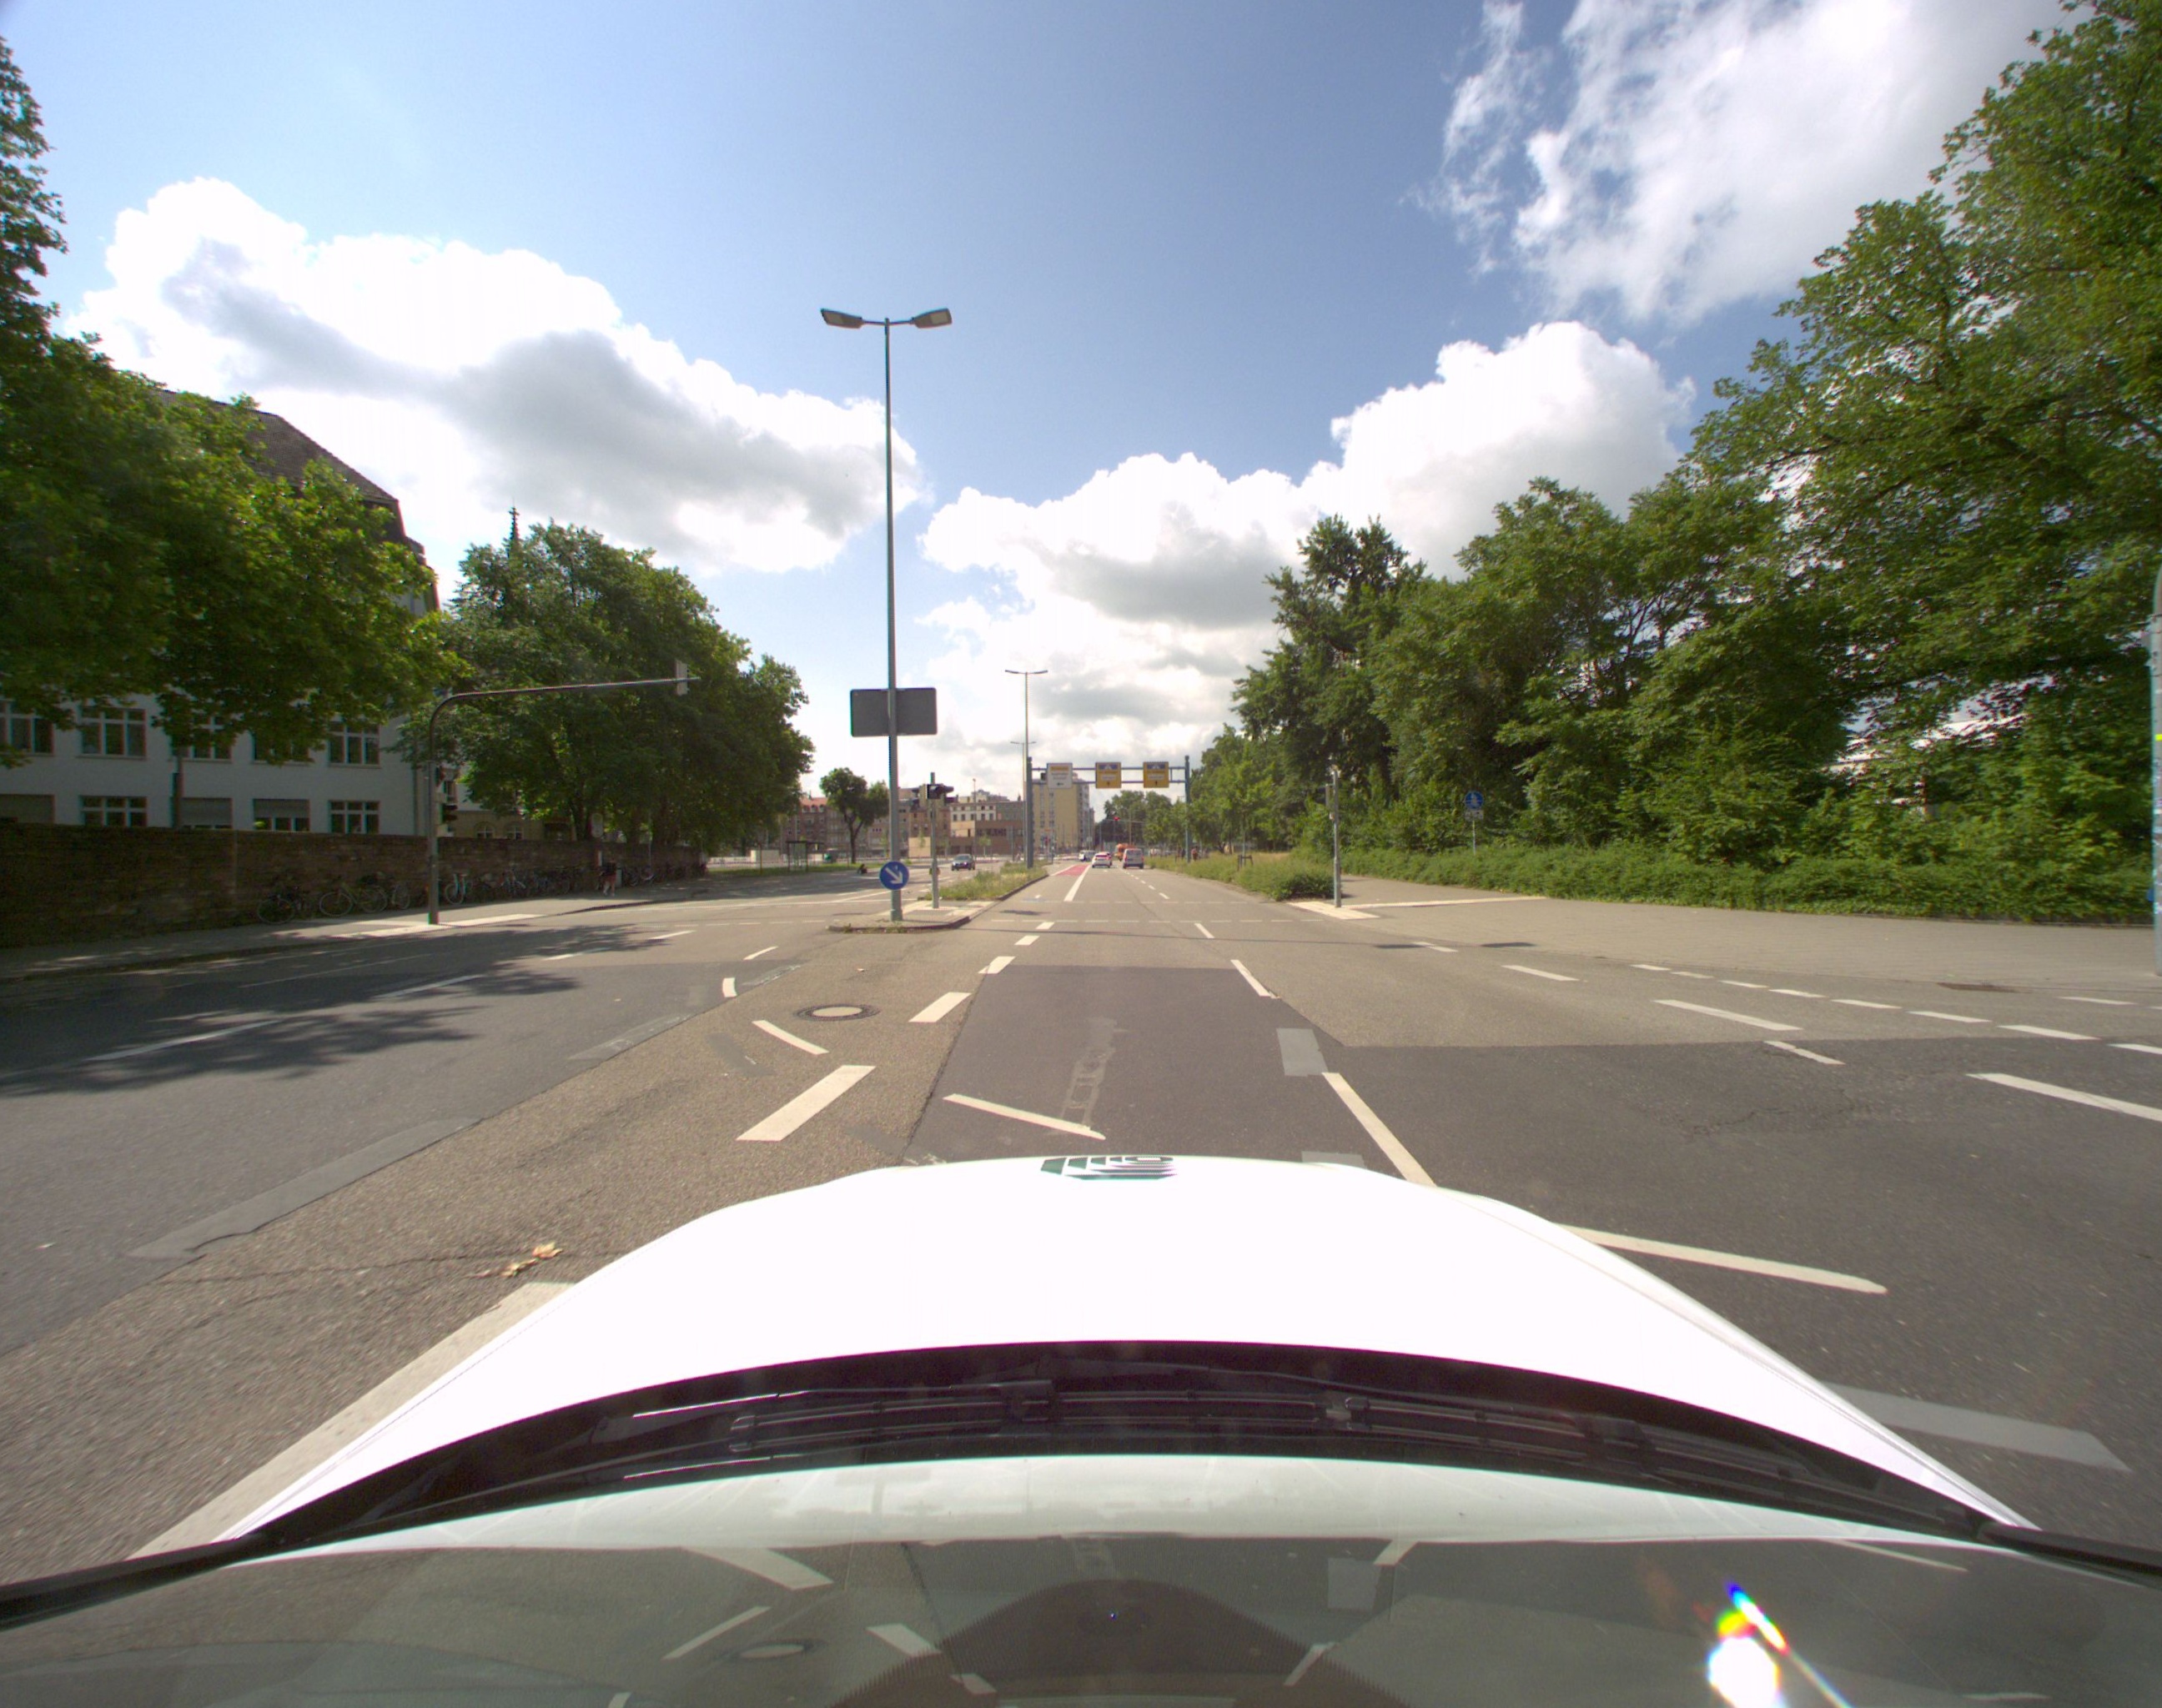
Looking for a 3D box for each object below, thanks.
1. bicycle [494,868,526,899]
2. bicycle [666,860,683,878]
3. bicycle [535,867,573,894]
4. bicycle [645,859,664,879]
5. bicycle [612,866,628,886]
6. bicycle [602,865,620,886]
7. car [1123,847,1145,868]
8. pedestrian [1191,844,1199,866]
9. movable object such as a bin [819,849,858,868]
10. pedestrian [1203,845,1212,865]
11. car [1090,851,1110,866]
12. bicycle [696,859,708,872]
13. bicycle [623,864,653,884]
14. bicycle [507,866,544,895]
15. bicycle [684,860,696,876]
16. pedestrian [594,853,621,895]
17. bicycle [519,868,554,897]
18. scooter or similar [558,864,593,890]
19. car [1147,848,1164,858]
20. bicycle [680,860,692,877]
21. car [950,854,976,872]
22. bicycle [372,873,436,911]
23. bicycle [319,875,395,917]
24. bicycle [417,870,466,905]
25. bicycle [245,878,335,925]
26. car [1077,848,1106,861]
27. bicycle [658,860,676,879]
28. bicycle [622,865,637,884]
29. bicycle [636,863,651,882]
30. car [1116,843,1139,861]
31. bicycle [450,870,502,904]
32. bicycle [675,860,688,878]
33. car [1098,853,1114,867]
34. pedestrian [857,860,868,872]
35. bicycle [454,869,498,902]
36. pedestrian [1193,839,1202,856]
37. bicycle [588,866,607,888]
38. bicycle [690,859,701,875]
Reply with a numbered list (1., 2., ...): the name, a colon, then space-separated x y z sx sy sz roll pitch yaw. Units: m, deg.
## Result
1. bicycle: -20.837 1.060 29.729 0.594 1.048 1.866 -1 0 -24
2. bicycle: -25.159 0.908 50.408 0.583 1.073 1.746 -1 0 -16
3. bicycle: -21.699 1.080 33.553 0.580 1.048 1.875 -1 0 -9
4. bicycle: -24.152 0.822 46.131 0.583 1.073 1.747 -1 0 -15
5. bicycle: -22.968 1.088 40.601 0.367 0.955 1.395 -1 0 -15
6. bicycle: -22.603 1.029 39.194 0.367 0.955 1.395 -1 0 -15
7. car: 4.967 0.279 77.514 1.935 1.870 4.828 -1 0 2
8. pedestrian: 9.283 0.054 66.575 0.565 1.801 0.639 -1 0 1
9. movable object such as a bin: -38.637 0.711 129.872 2.259 2.885 5.575 -1 0 44
10. pedestrian: 10.332 0.078 66.775 0.621 1.581 0.708 -1 0 1
11. car: 1.917 0.403 81.479 1.896 1.424 4.387 -1 0 2
12. bicycle: -30.549 0.921 65.638 0.583 1.073 1.860 -1 0 -16
13. bicycle: -22.415 1.024 41.240 0.364 0.955 1.629 -1 0 9
14. bicycle: -21.493 1.024 31.524 0.393 1.048 1.875 -1 0 -9
15. bicycle: -26.826 0.933 55.829 0.584 1.073 1.743 -1 0 -21
16. pedestrian: -18.781 0.782 32.304 0.655 1.610 0.743 0 0 -8
17. bicycle: -21.114 1.103 31.623 0.372 1.048 1.875 -1 0 -9
18. scooter or similar: -22.007 1.002 35.466 0.580 1.048 1.875 -1 0 -9
19. car: 15.680 -0.248 171.642 1.987 1.966 4.665 -1 0 25
20. bicycle: -26.177 0.957 53.986 0.584 1.073 1.743 -1 0 -21
21. car: -10.901 0.812 75.293 1.695 1.445 4.145 -2 0 0
22. bicycle: -20.310 1.117 24.473 0.564 1.048 1.875 -1 0 -9
23. bicycle: -20.008 1.128 22.549 0.629 1.048 1.875 -1 0 -9
24. bicycle: -20.735 1.080 26.447 0.370 1.048 1.875 -1 0 -9
25. bicycle: -19.676 1.151 20.316 0.629 1.048 1.875 -1 0 -9
26. car: 1.601 0.073 124.809 4.007 1.816 1.983 2 0 -26
27. bicycle: -24.578 0.901 48.407 0.583 1.073 1.747 -1 0 -15
28. bicycle: -23.322 1.050 42.072 0.367 0.955 1.395 -1 0 -15
29. bicycle: -23.803 1.010 44.319 0.370 0.955 1.619 -1 0 -15
30. car: 7.761 -0.346 135.155 2.110 2.780 4.665 -1 0 25
31. bicycle: -20.325 1.076 27.404 0.591 1.048 1.875 -1 0 -9
32. bicycle: -25.616 0.958 52.259 0.584 1.073 1.743 -1 0 -21
33. car: 2.863 0.673 93.571 1.784 1.539 4.013 1 0 2
34. pedestrian: -17.785 0.987 66.216 0.692 0.963 0.743 0 0 -1
35. bicycle: -21.037 1.069 28.361 0.370 1.048 1.875 -1 0 -9
36. pedestrian: 11.868 -0.656 83.170 0.864 1.638 0.721 -1 0 2
37. bicycle: -22.227 1.045 37.424 0.367 0.955 1.395 -1 0 -15
38. bicycle: -27.890 0.920 58.882 0.584 1.073 1.620 -1 0 -21
